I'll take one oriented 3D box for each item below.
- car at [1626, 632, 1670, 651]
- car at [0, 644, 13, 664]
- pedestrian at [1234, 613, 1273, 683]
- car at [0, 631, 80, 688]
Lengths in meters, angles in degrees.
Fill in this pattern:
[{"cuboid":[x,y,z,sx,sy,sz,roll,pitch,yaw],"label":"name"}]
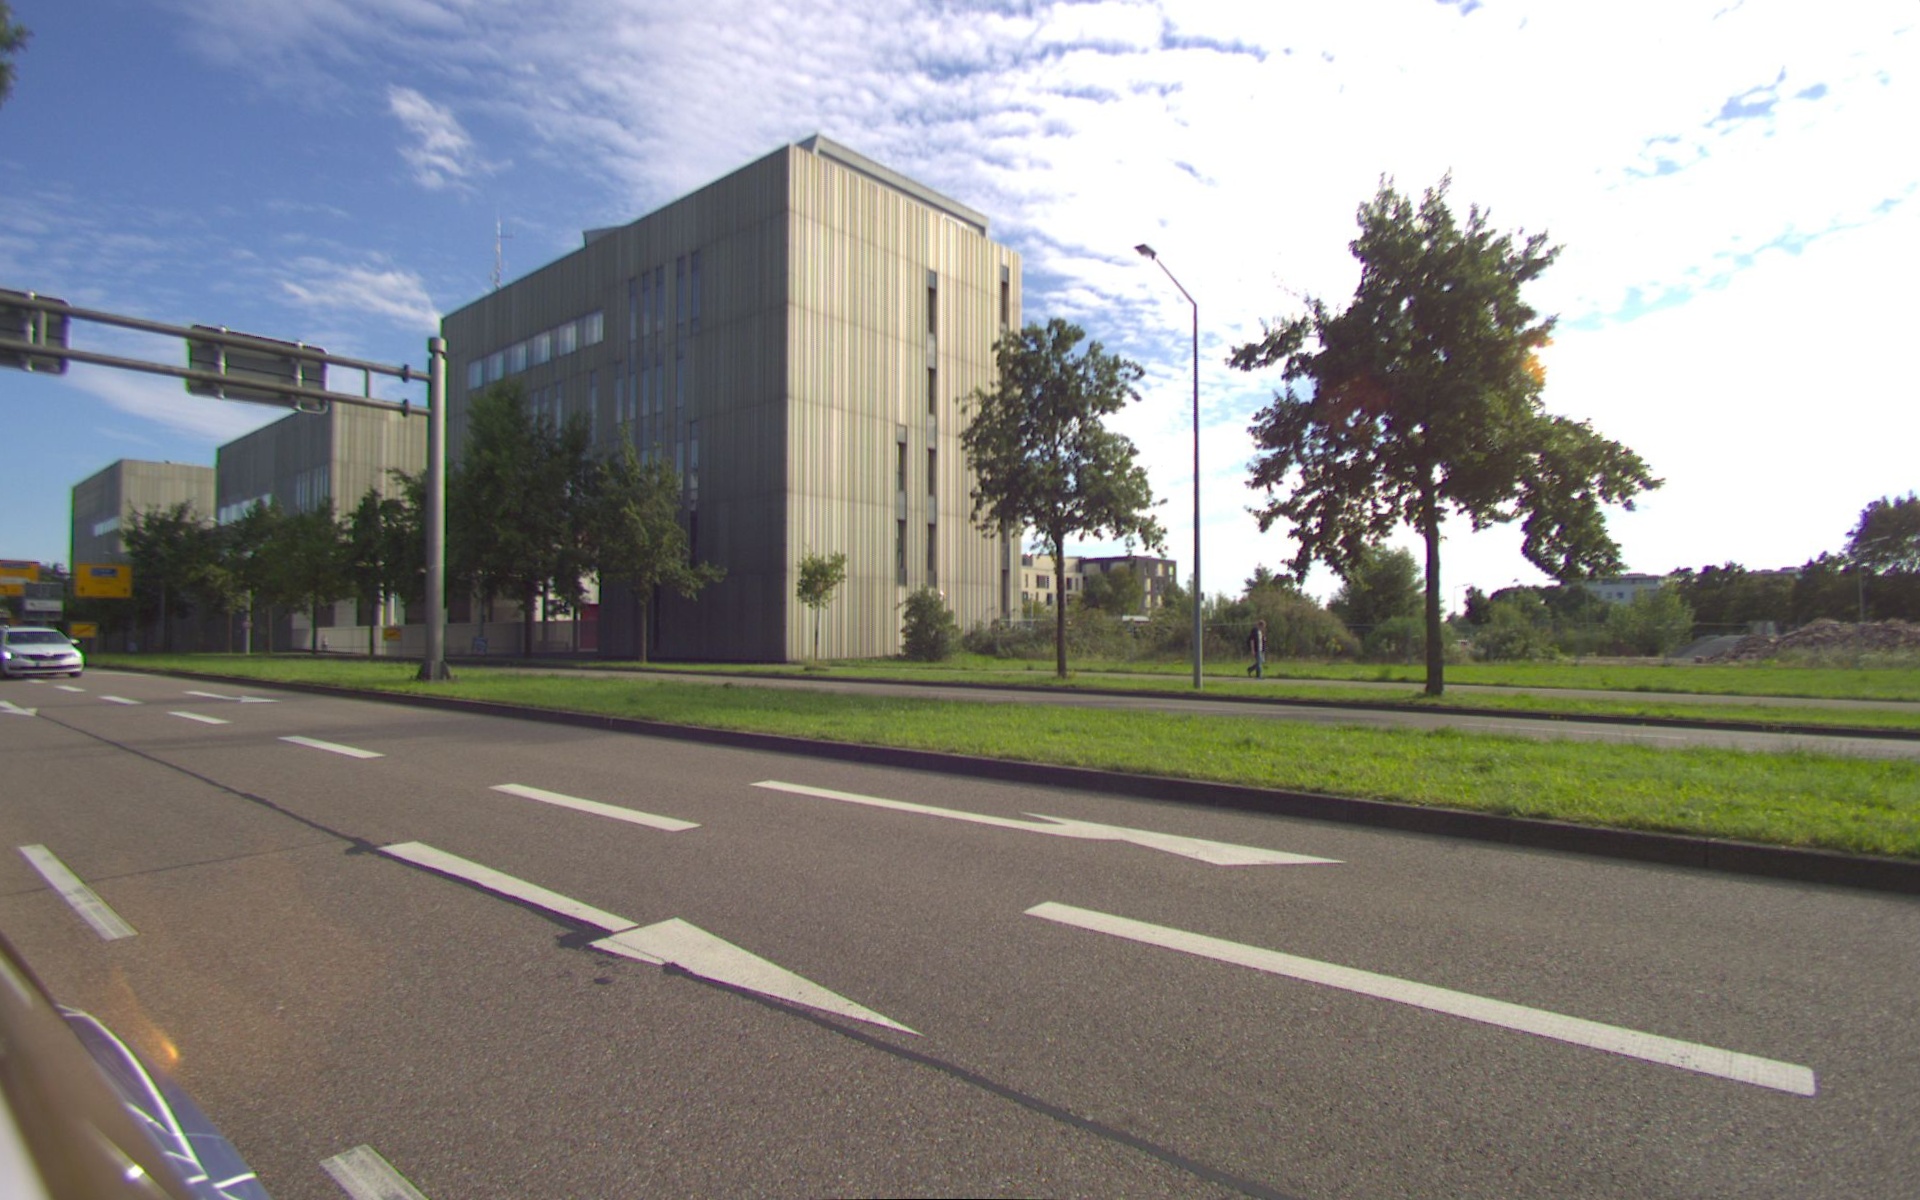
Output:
[{"cuboid":[73.217,4.407,107.777,1.973,2.029,3.998,0,-2,1],"label":"car"},{"cuboid":[-96.774,5.420,101.631,3.997,2.029,1.973,-2,-3,40],"label":"car"},{"cuboid":[8.667,1.409,29.891,0.866,2.029,0.667,-2,-3,40],"label":"pedestrian"},{"cuboid":[-27.026,1.673,29.194,4.475,1.510,1.682,-2,-2,38],"label":"car"}]
